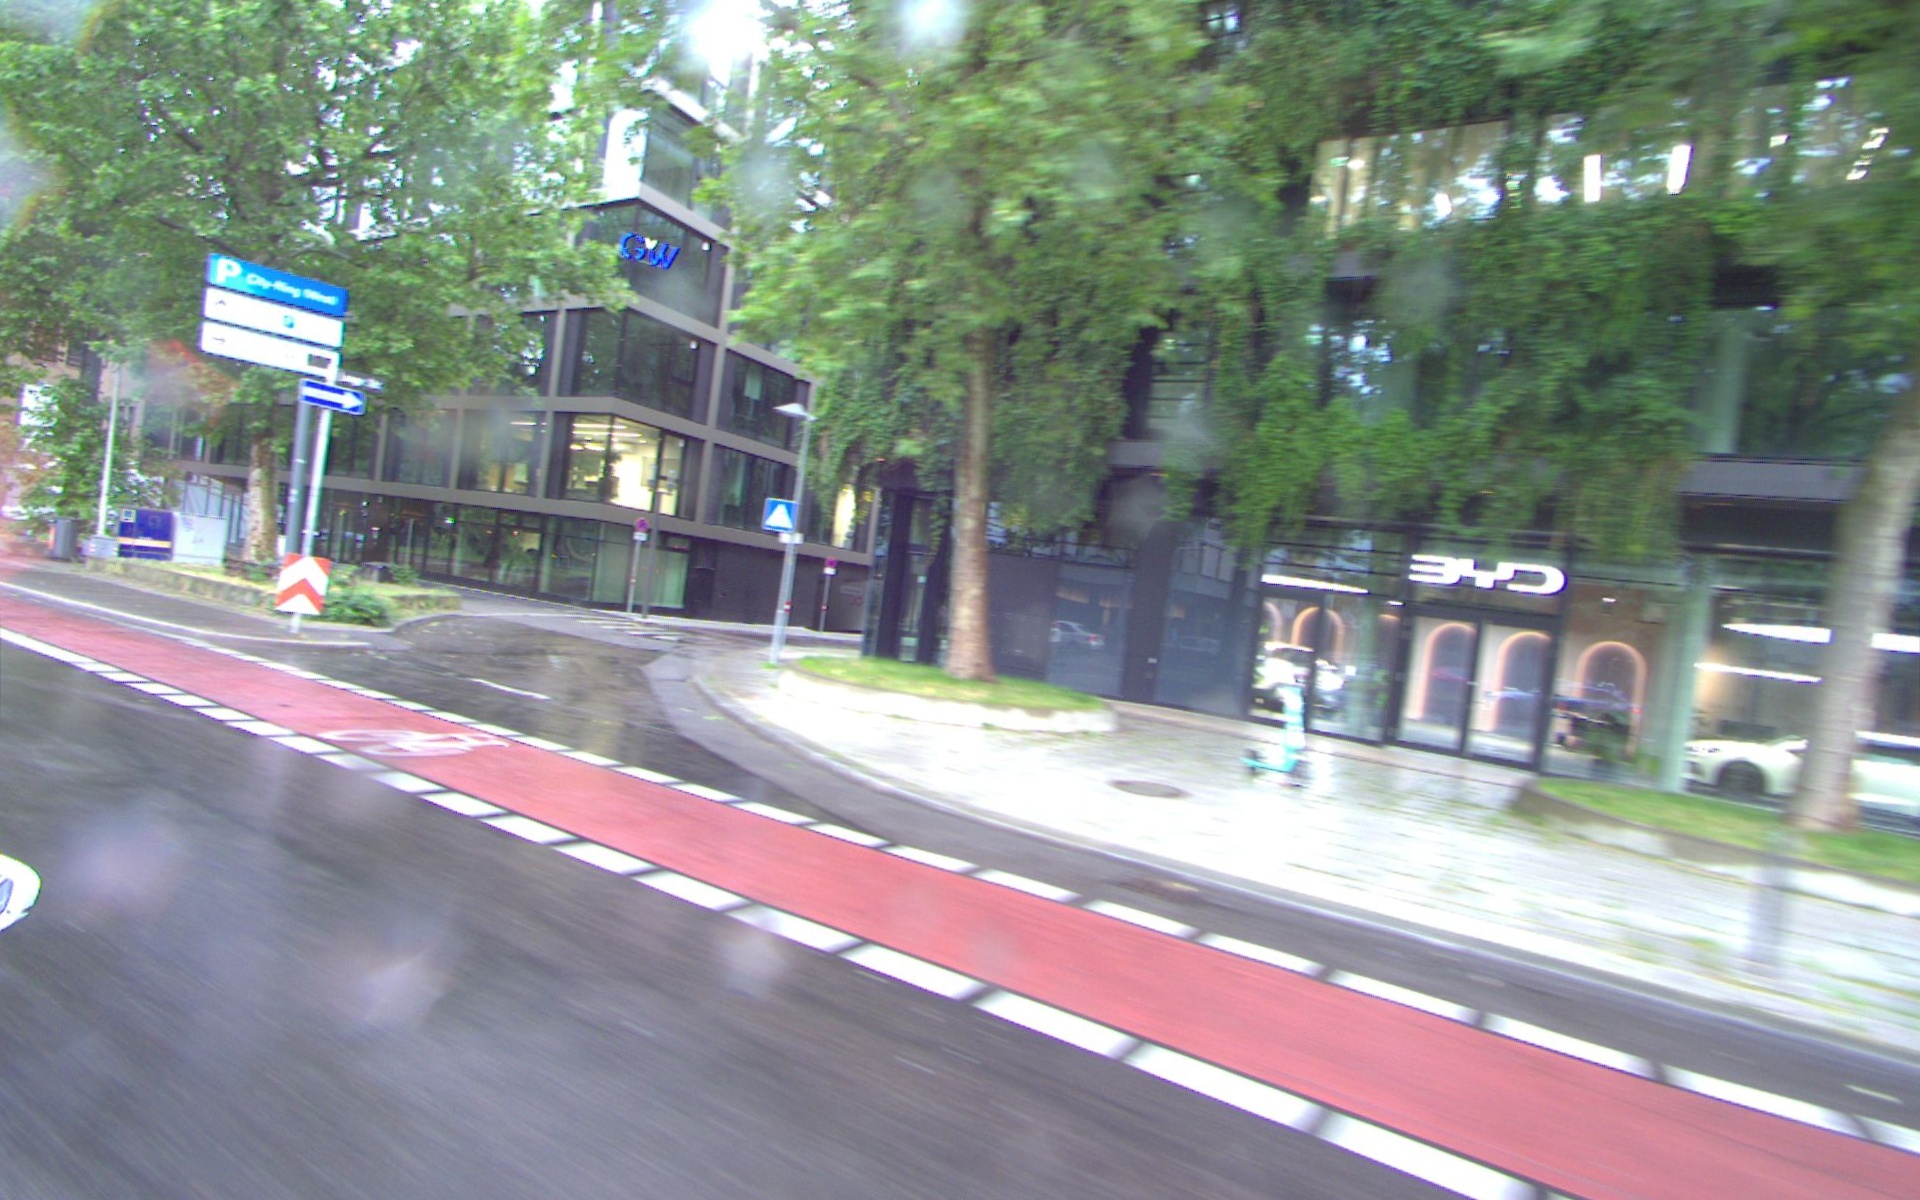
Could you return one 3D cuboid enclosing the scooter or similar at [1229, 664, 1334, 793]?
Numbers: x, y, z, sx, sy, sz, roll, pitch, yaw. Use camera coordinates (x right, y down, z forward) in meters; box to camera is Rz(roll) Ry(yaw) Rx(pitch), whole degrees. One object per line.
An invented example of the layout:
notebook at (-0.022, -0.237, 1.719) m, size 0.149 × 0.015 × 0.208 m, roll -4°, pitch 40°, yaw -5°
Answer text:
scooter or similar at (3.522, 1.388, 11.093) m, size 0.377 × 1.243 × 1.074 m, roll 7°, pitch 0°, yaw -21°
